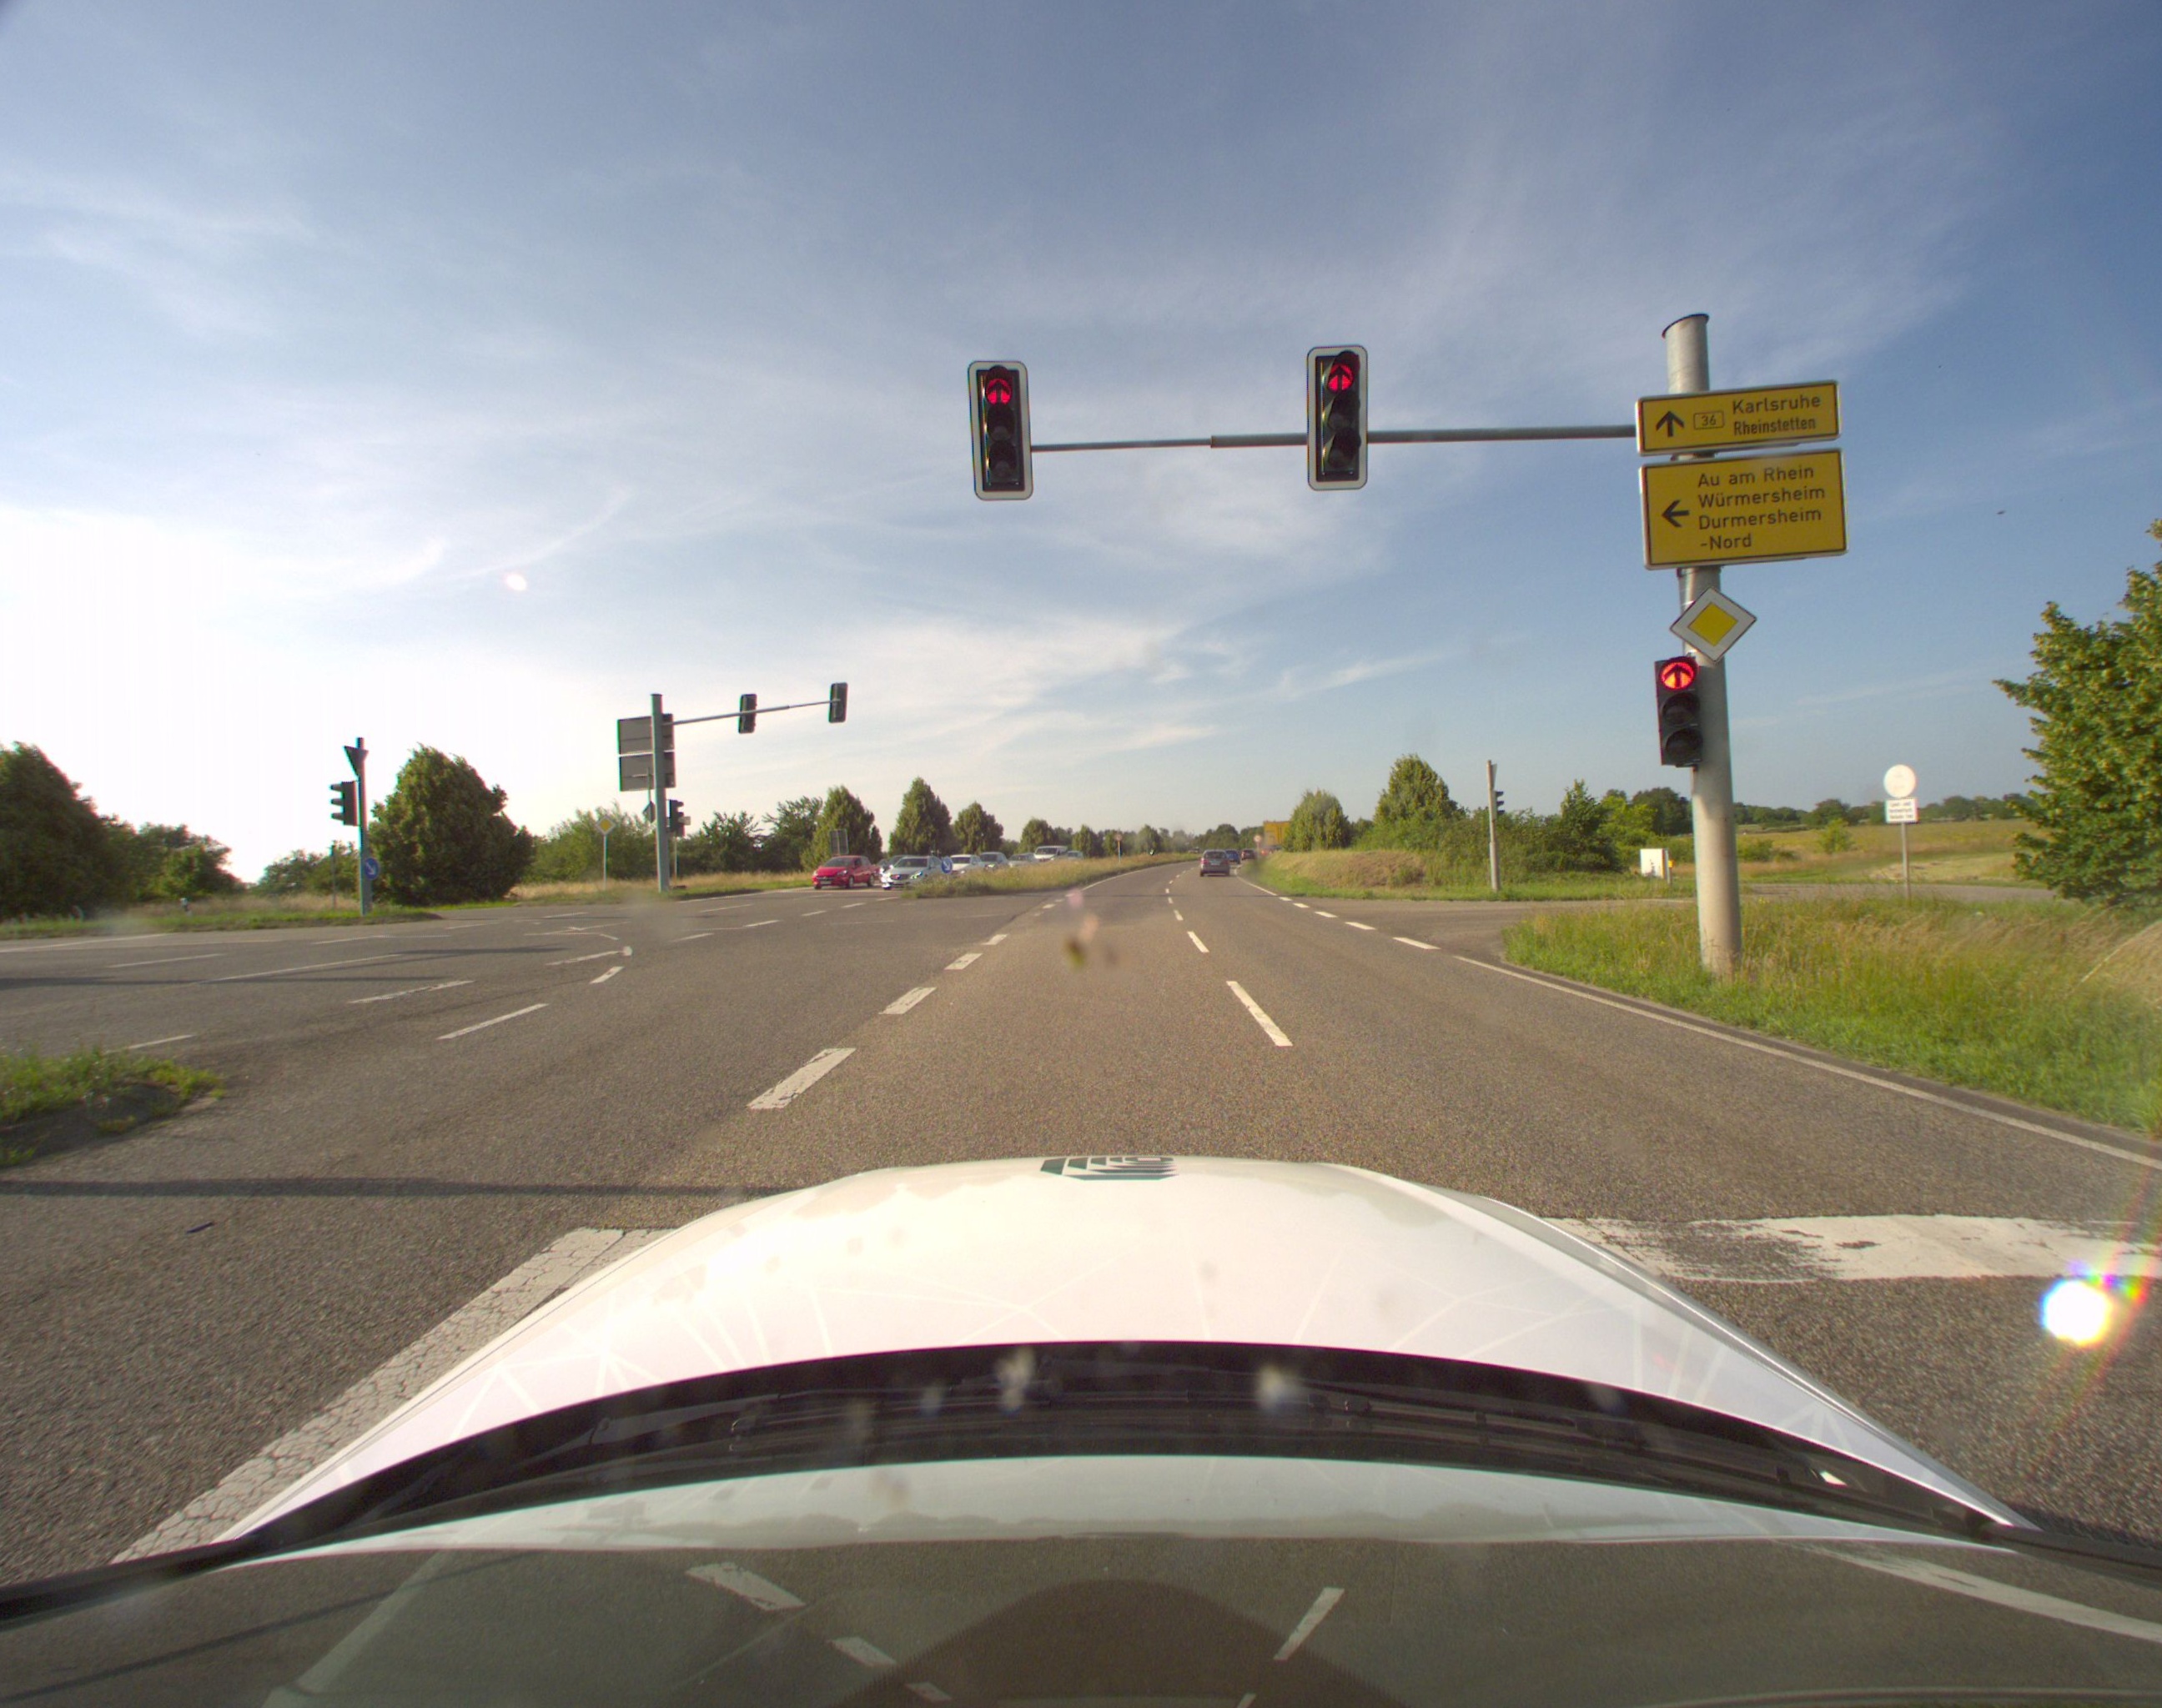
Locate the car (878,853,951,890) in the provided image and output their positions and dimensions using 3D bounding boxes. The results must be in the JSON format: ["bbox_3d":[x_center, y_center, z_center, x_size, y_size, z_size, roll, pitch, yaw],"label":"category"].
[{"bbox_3d":[-7.223,0.716,35.823,1.777,1.488,4.659,-2,0,6],"label":"car"}]

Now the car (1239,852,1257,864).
[{"bbox_3d":[21.004,0.567,102.346,1.900,1.416,3.811,-1,-1,15],"label":"car"}]

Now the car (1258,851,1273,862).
[{"bbox_3d":[28.296,0.359,124.735,1.881,1.565,4.296,-1,-1,16],"label":"car"}]

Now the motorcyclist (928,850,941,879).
[{"bbox_3d":[-8.942,0.659,49.662,0.660,1.747,0.605,-2,0,-1],"label":"motorcyclist"}]

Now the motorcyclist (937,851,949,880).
[{"bbox_3d":[-8.900,0.728,52.582,0.660,1.817,0.605,-2,0,-1],"label":"motorcyclist"}]

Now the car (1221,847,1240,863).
[{"bbox_3d":[15.109,0.069,82.165,1.760,1.492,3.999,-1,0,13],"label":"car"}]

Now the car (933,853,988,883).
[{"bbox_3d":[-6.364,0.703,43.439,1.777,1.433,4.316,-2,0,6],"label":"car"}]

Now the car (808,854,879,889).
[{"bbox_3d":[-10.835,0.774,37.469,1.711,1.488,3.812,-2,0,7],"label":"car"}]

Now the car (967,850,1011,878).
[{"bbox_3d":[-5.561,0.597,49.734,1.777,1.568,4.058,-2,0,6],"label":"car"}]

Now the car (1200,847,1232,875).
[{"bbox_3d":[8.256,0.473,49.555,1.773,1.605,4.207,-1,-1,10],"label":"car"}]

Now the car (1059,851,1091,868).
[{"bbox_3d":[-0.542,0.497,73.706,1.772,1.385,4.068,-2,0,15],"label":"car"}]

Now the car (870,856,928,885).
[{"bbox_3d":[-9.858,0.873,44.382,1.777,1.433,4.058,-2,0,6],"label":"car"}]

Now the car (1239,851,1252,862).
[{"bbox_3d":[24.391,0.380,120.652,1.760,1.492,3.999,-1,0,13],"label":"car"}]

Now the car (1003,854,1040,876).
[{"bbox_3d":[-4.028,0.742,55.851,1.777,1.385,4.058,-2,0,6],"label":"car"}]

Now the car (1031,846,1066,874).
[{"bbox_3d":[-2.549,0.440,65.227,1.913,2.078,4.255,-2,0,10],"label":"car"}]

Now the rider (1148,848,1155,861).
[{"bbox_3d":[11.041,0.117,126.801,0.861,2.013,0.775,-2,0,17],"label":"rider"}]

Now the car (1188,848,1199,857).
[{"bbox_3d":[20.327,-0.270,147.257,1.394,1.402,3.438,-2,0,19],"label":"car"}]

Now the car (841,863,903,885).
[{"bbox_3d":[-12.289,1.161,48.239,1.982,1.101,4.487,-2,0,8],"label":"car"}]
